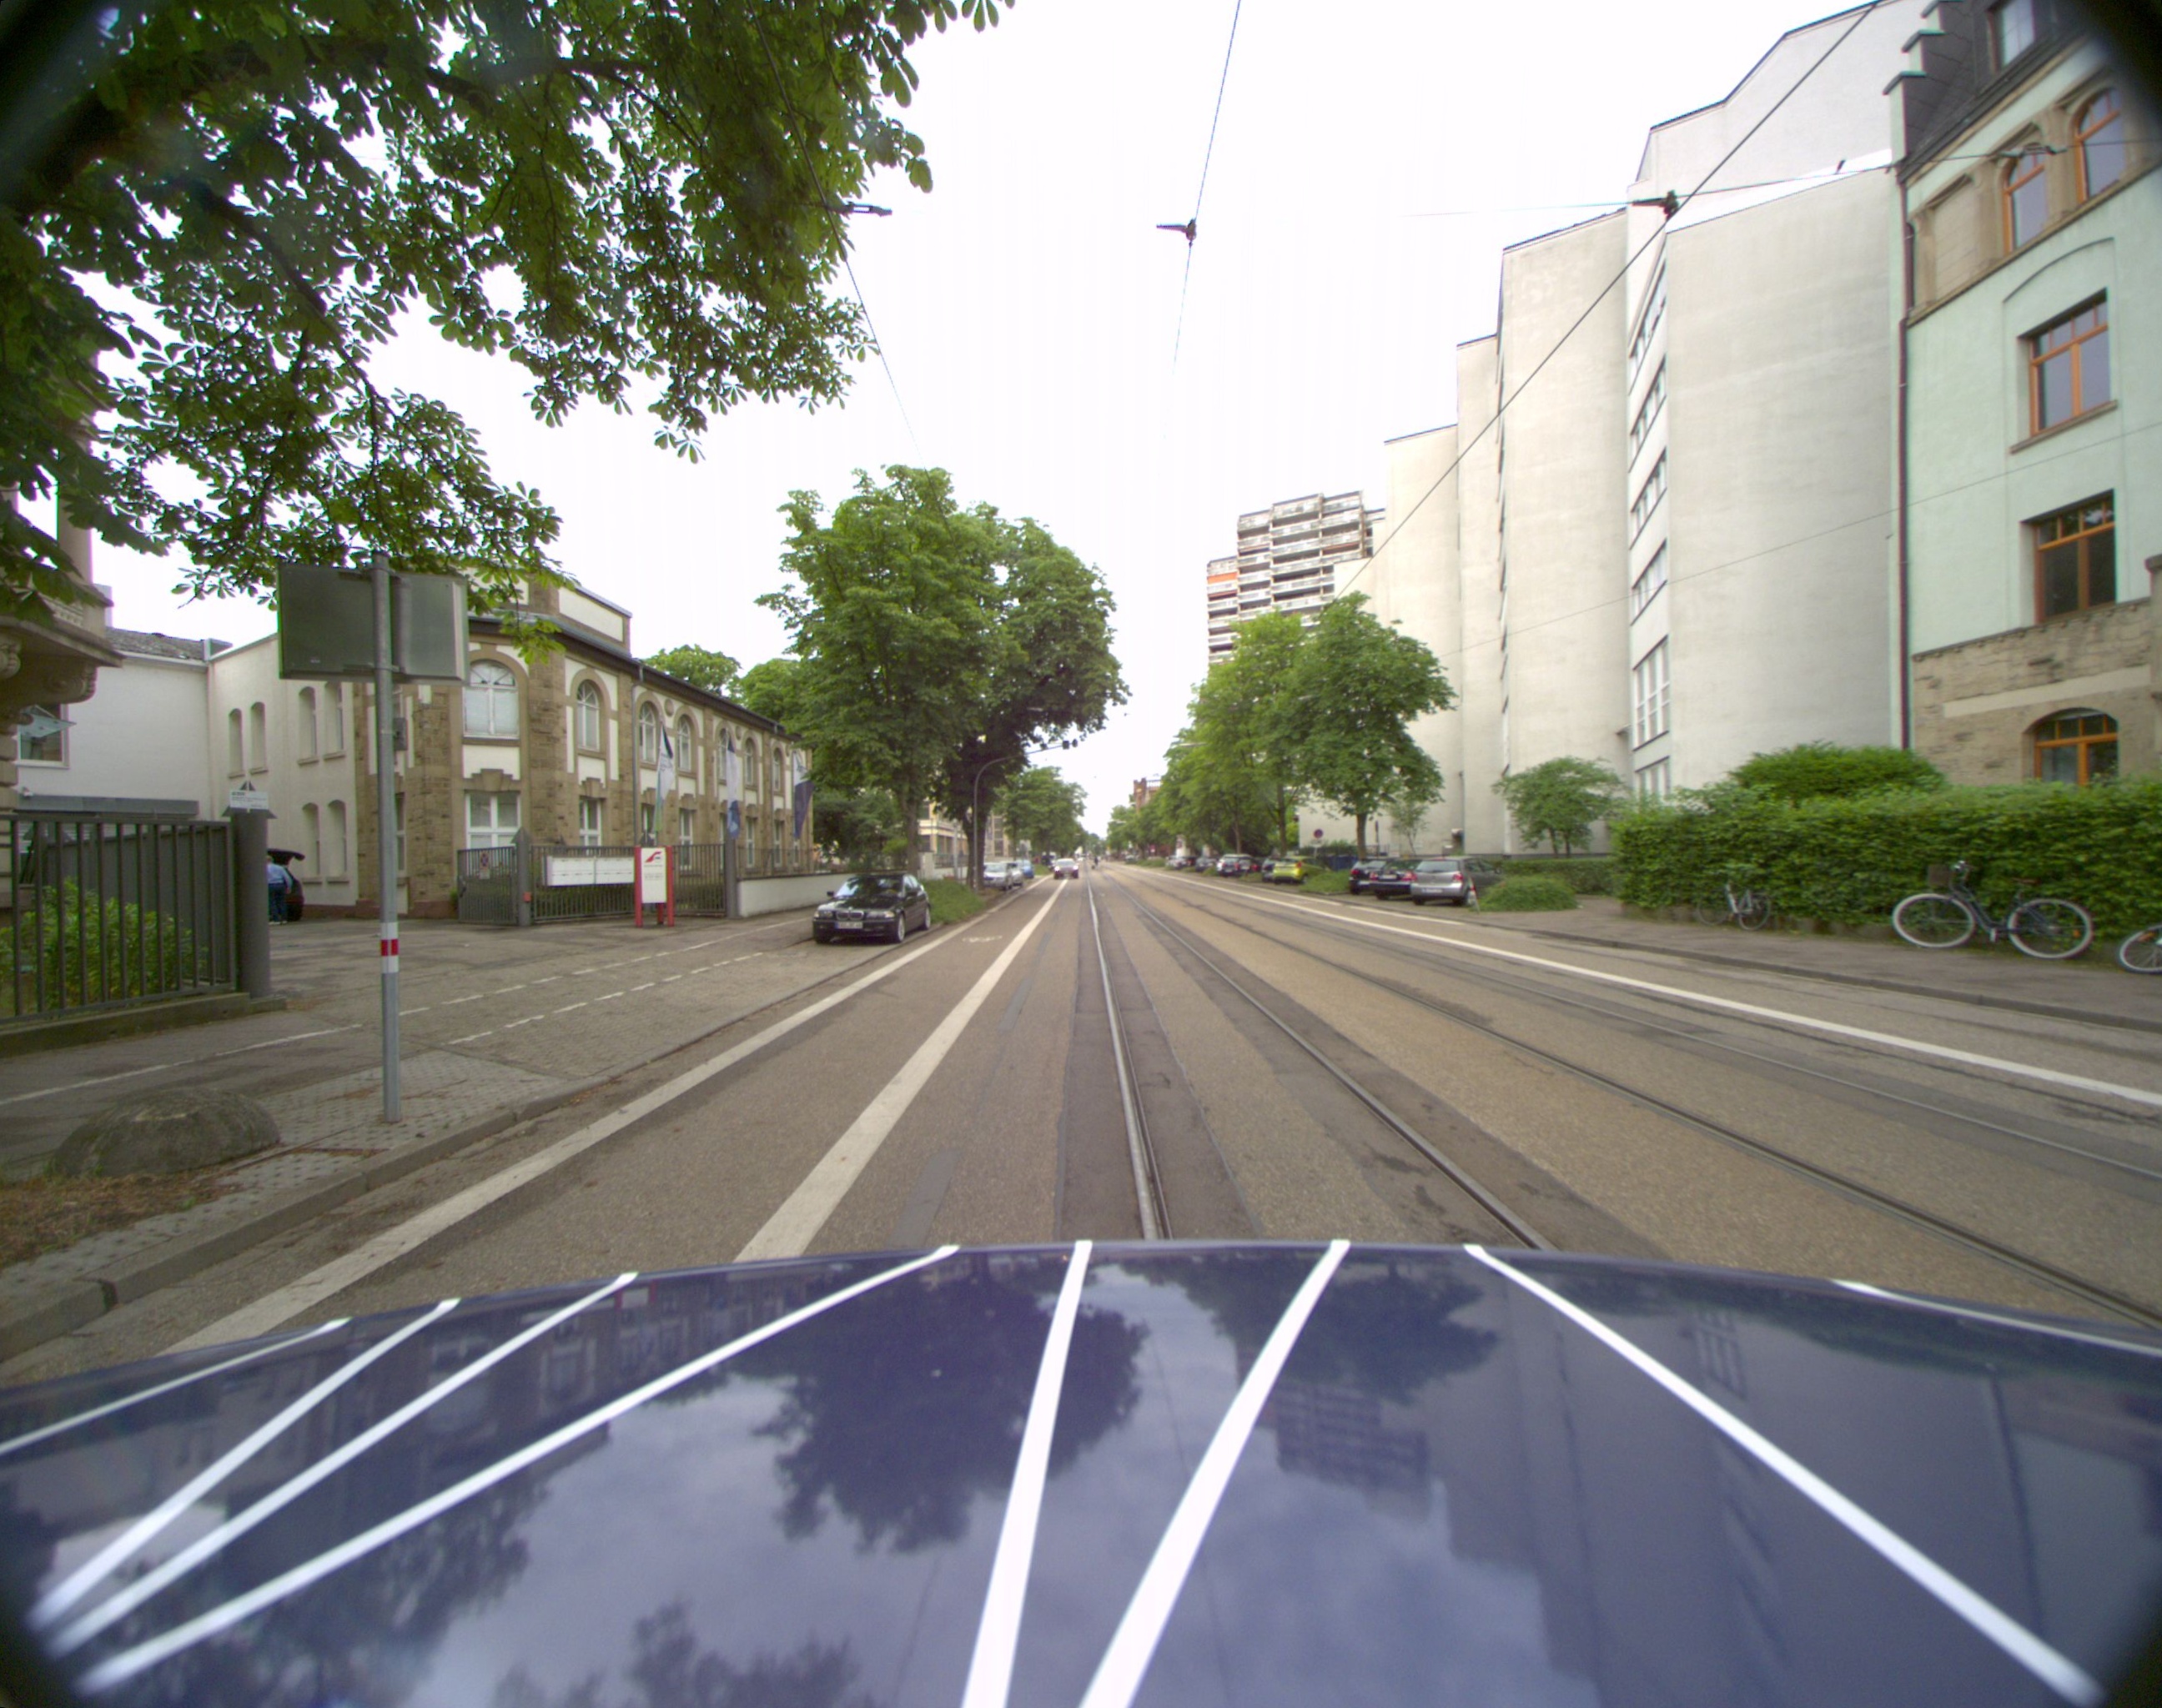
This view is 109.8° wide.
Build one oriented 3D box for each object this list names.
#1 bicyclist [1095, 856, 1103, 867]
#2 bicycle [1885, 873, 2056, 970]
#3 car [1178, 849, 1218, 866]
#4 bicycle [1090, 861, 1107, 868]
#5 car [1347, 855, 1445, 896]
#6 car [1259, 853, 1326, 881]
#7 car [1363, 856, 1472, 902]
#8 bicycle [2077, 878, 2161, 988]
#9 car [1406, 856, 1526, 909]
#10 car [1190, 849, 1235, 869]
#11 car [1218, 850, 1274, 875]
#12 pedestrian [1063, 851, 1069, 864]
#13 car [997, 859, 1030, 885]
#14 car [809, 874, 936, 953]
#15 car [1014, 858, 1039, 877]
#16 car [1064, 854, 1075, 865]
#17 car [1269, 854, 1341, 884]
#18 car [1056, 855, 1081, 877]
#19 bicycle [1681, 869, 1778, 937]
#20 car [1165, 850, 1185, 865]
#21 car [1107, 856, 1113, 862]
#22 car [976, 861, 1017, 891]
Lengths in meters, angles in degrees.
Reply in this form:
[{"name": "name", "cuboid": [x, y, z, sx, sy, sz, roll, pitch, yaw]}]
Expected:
[{"name": "bicyclist", "cuboid": [2.055, 0.842, 87.833, 0.875, 1.247, 0.752, -1, 1, -4]}, {"name": "bicycle", "cuboid": [11.159, 0.802, 9.607, 0.360, 1.077, 1.546, -1, 0, 1]}, {"name": "car", "cuboid": [11.545, 0.311, 74.876, 4.008, 1.611, 1.690, -1, 0, -43]}, {"name": "bicycle", "cuboid": [2.041, 1.171, 87.801, 1.889, 0.784, 0.568, -1, 1, -4]}, {"name": "car", "cuboid": [11.898, 0.753, 28.622, 4.008, 1.395, 1.691, -1, 0, -39]}, {"name": "car", "cuboid": [11.723, 0.681, 41.904, 4.008, 1.434, 1.690, -1, 0, -43]}, {"name": "car", "cuboid": [11.335, 0.784, 25.518, 4.008, 1.395, 1.691, -1, 0, -39]}, {"name": "bicycle", "cuboid": [11.056, 0.806, 7.527, 0.360, 1.077, 1.546, -1, 0, 1]}, {"name": "car", "cuboid": [11.522, 0.789, 22.654, 4.008, 1.395, 1.691, -1, 0, -39]}, {"name": "car", "cuboid": [11.371, 0.411, 65.573, 4.008, 1.611, 1.690, -1, 0, -43]}, {"name": "car", "cuboid": [11.258, 0.559, 51.632, 4.008, 1.611, 1.690, -1, 0, -43]}, {"name": "pedestrian", "cuboid": [-1.761, 0.457, 91.893, 0.684, 1.541, 0.704, -1, 1, 1]}, {"name": "car", "cuboid": [-4.063, 1.055, 46.022, 1.606, 1.416, 3.837, 1, 0, 1]}, {"name": "car", "cuboid": [-4.320, 1.173, 16.310, 1.606, 1.362, 3.837, 1, 0, 1]}, {"name": "car", "cuboid": [-4.191, 0.987, 58.537, 1.606, 1.362, 3.837, 1, 0, 1]}, {"name": "car", "cuboid": [-1.947, 0.915, 128.952, 1.723, 1.691, 3.372, -1, 0, 1]}, {"name": "car", "cuboid": [11.472, 0.727, 38.857, 4.008, 1.387, 1.690, -1, 0, -43]}, {"name": "car", "cuboid": [-0.879, 0.851, 55.536, 1.606, 1.427, 3.777, -3, 0, 2]}, {"name": "bicycle", "cuboid": [11.179, 0.818, 13.148, 0.360, 1.077, 1.546, -1, 0, 1]}, {"name": "car", "cuboid": [10.535, 0.387, 85.182, 1.694, 1.611, 3.999, -1, 0, -1]}, {"name": "car", "cuboid": [9.207, 1.583, 241.997, 1.906, 2.002, 3.999, -2, 1, 1]}, {"name": "car", "cuboid": [-4.250, 1.092, 38.884, 1.606, 1.362, 3.837, 1, 0, 1]}]
